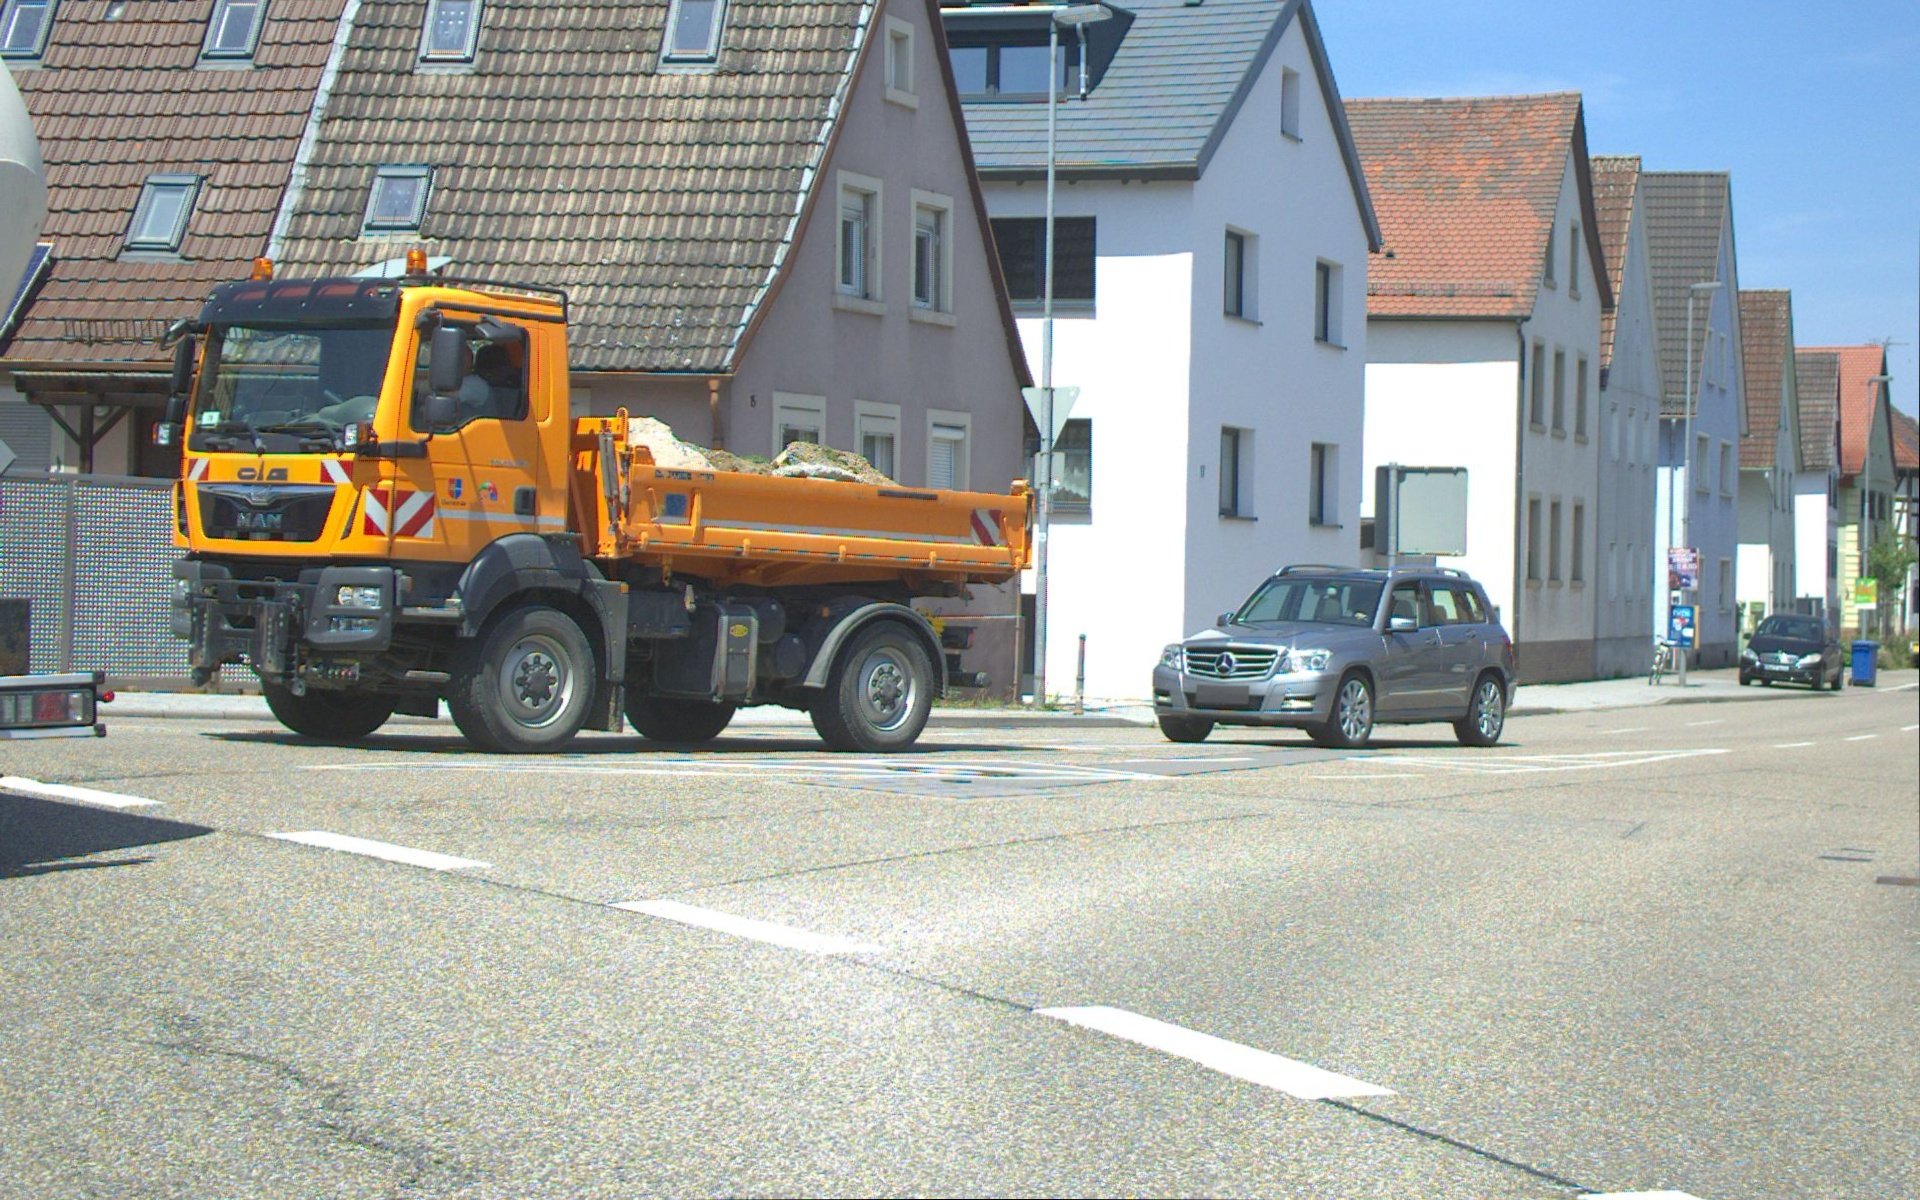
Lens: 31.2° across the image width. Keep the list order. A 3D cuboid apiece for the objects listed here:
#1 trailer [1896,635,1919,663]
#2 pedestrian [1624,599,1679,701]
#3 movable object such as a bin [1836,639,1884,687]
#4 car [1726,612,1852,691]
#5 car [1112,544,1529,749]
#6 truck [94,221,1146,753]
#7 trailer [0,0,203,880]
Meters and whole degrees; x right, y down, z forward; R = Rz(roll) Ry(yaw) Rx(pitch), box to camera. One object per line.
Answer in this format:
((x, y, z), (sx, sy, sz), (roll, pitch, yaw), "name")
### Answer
((28.750, 1.476, 101.632), (1.951, 0.775, 2.718), (3, 1, 13), "trailer")
((13.902, 0.994, 69.098), (0.770, 2.007, 0.975), (3, 1, 27), "pedestrian")
((20.768, 1.453, 79.360), (0.921, 1.045, 0.942), (2, 1, 22), "movable object such as a bin")
((18.020, 1.105, 74.621), (1.720, 1.590, 3.994), (2, 1, 27), "car")
((3.370, 0.450, 31.386), (1.997, 1.669, 4.304), (3, 0, 33), "car")
((-2.122, -0.589, 24.387), (2.668, 3.170, 7.443), (2, -1, 42), "truck")
((-8.138, -1.143, 16.839), (2.954, 3.934, 11.613), (2, 1, -44), "trailer")
